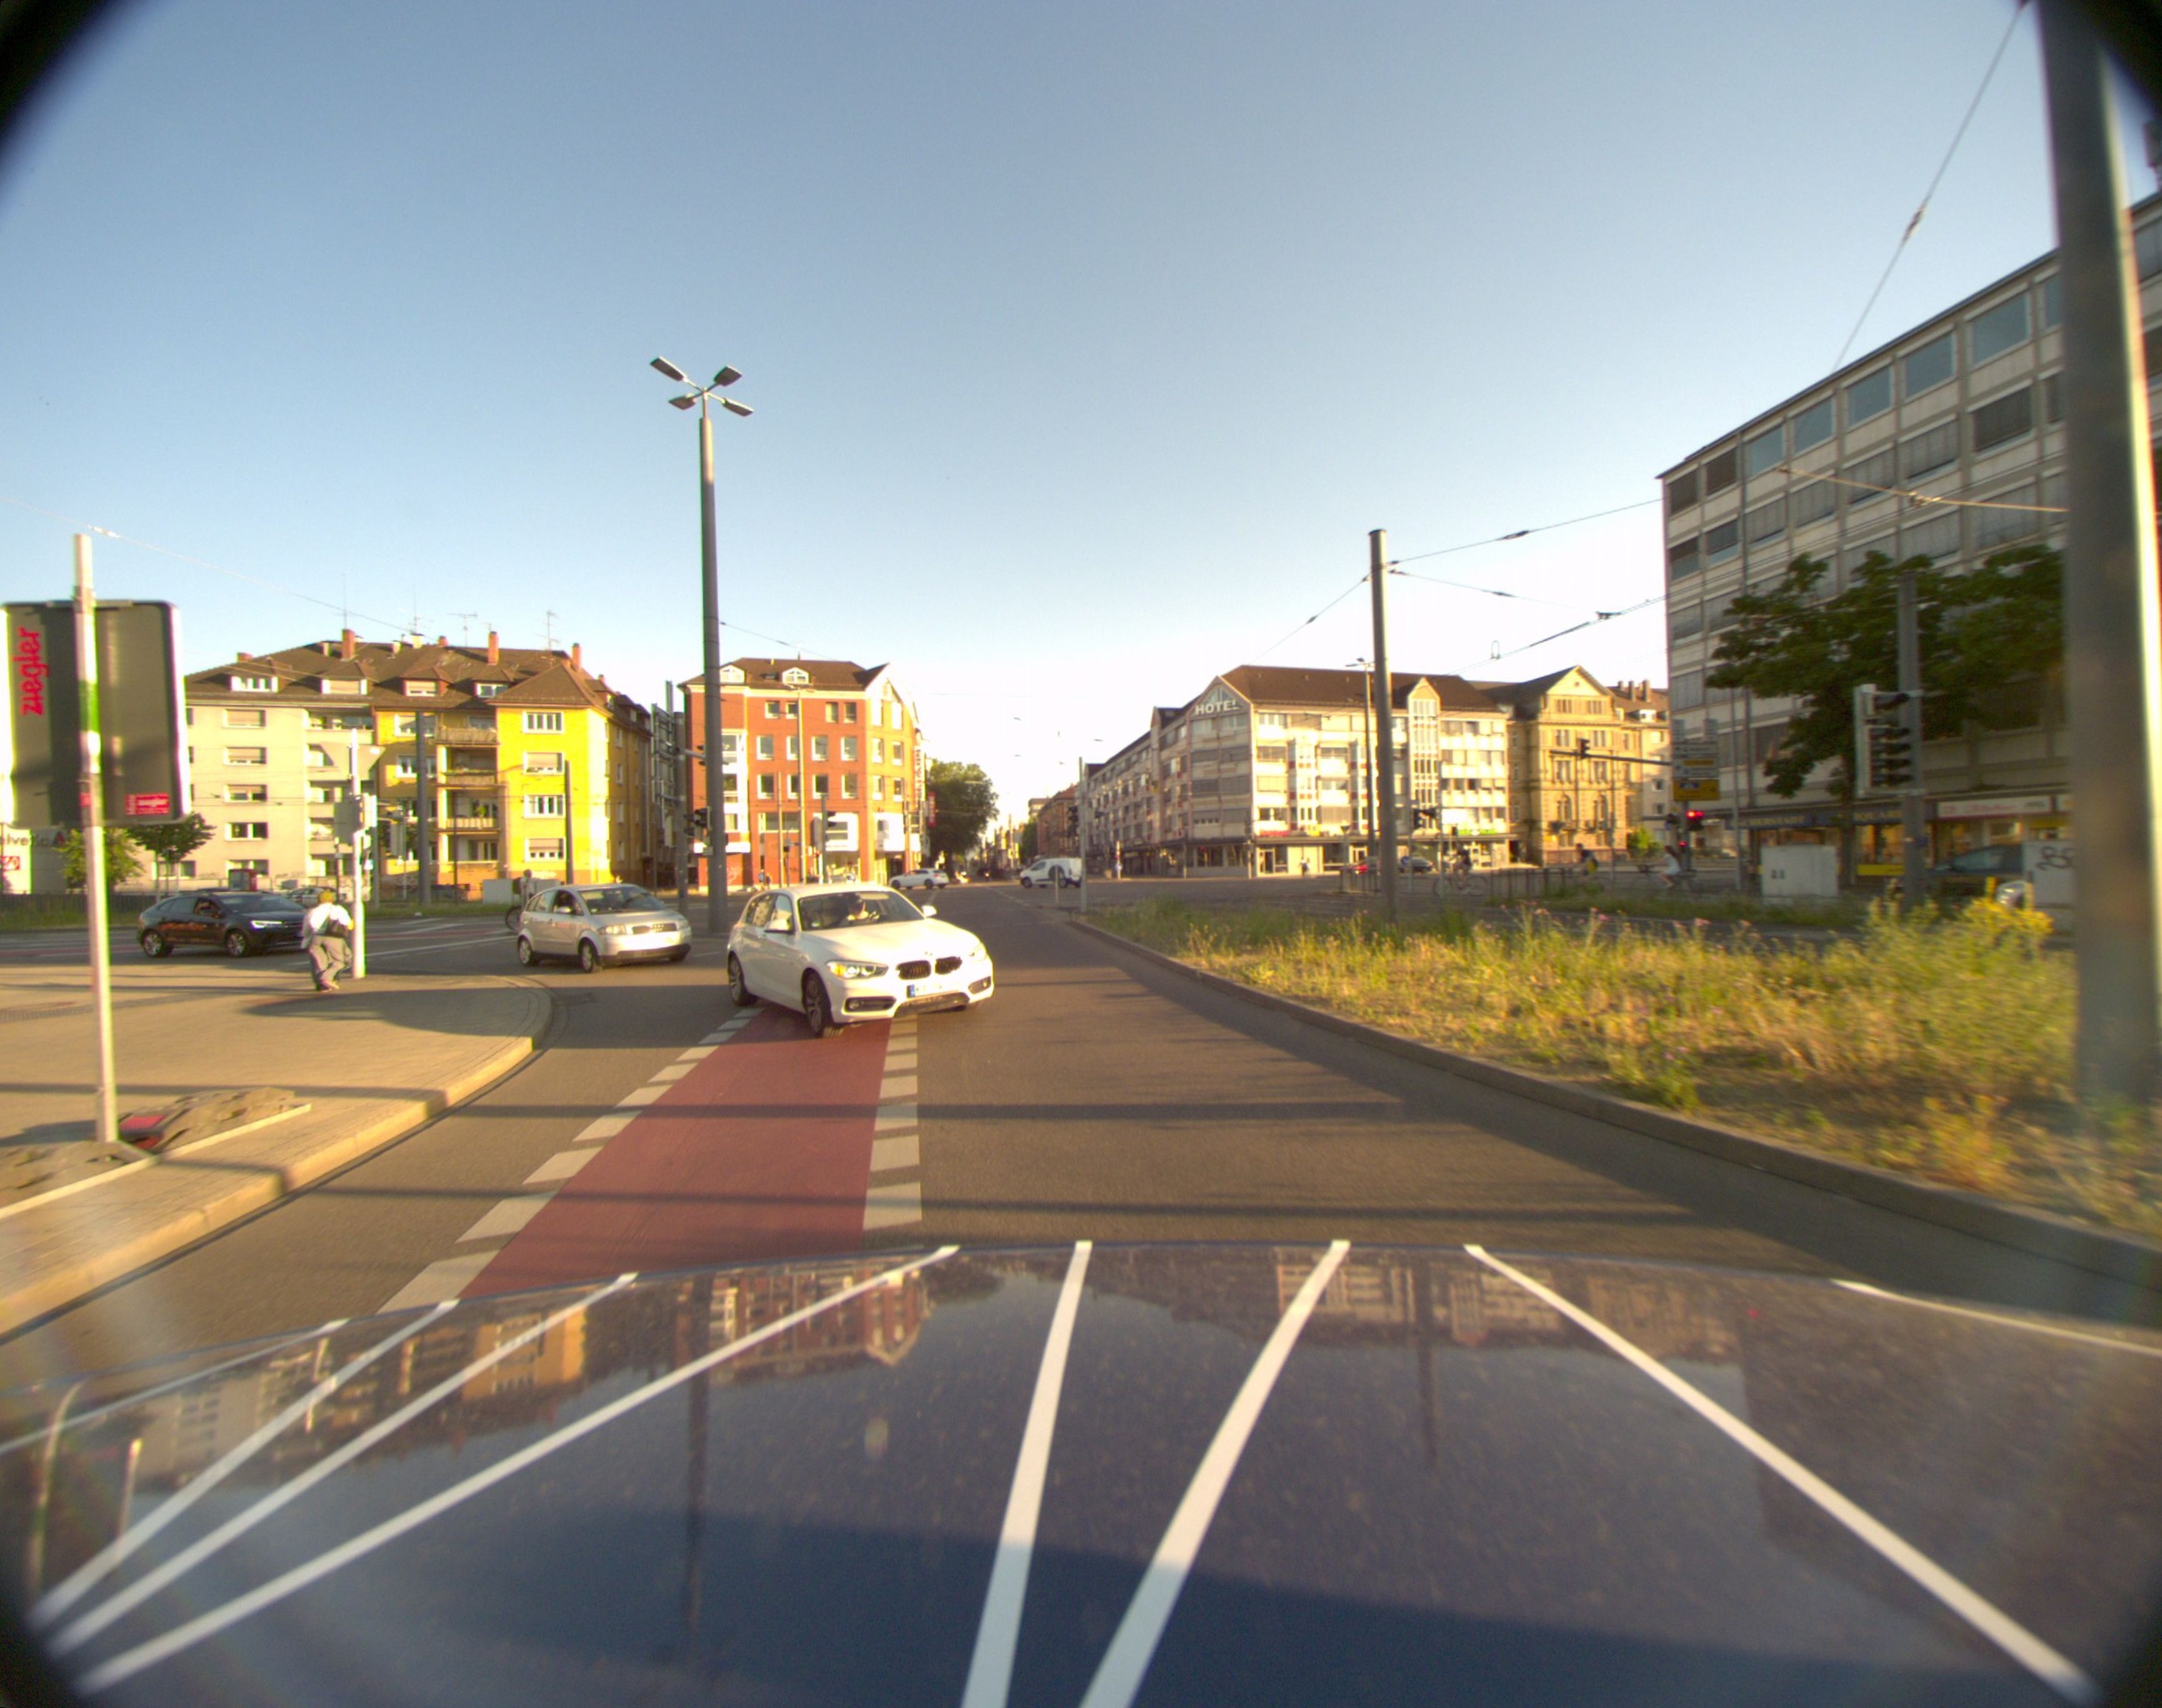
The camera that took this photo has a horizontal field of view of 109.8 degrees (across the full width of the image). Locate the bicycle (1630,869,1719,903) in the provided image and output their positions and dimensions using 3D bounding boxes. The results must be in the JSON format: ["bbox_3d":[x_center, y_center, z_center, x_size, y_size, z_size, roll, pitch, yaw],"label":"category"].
[{"bbox_3d":[17.281,0.925,22.156,0.726,0.924,1.949,-1,0,-45],"label":"bicycle"}]

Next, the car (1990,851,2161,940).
[{"bbox_3d":[18.887,0.666,12.479,2.042,1.432,4.653,-2,0,-21],"label":"car"}]

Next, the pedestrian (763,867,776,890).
[{"bbox_3d":[-24.654,1.958,60.113,0.874,1.768,0.916,-2,1,-20],"label":"pedestrian"}]

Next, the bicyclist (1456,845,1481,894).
[{"bbox_3d":[13.084,0.521,25.655,0.698,1.602,0.738,-1,0,24],"label":"bicyclist"}]

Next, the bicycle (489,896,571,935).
[{"bbox_3d":[-15.904,1.762,21.989,1.850,1.017,0.595,-1,0,-28],"label":"bicycle"}]

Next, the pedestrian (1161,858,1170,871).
[{"bbox_3d":[9.867,1.230,88.411,0.708,1.539,0.906,-1,0,-13],"label":"pedestrian"}]

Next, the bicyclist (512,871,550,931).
[{"bbox_3d":[-15.913,1.332,21.983,0.749,1.661,0.595,-2,1,-28],"label":"bicyclist"}]

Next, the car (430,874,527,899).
[{"bbox_3d":[-40.280,2.153,50.956,4.706,1.494,1.914,-1,0,-20],"label":"car"}]

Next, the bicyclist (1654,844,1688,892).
[{"bbox_3d":[17.226,0.412,22.198,0.682,1.361,0.717,-1,0,45],"label":"bicyclist"}]

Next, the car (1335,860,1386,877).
[{"bbox_3d":[24.655,1.249,67.058,3.899,1.413,1.647,-1,0,-15],"label":"car"}]

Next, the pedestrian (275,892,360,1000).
[{"bbox_3d":[-11.860,1.404,11.819,0.689,1.604,0.596,-1,0,-5],"label":"pedestrian"}]

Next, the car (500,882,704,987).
[{"bbox_3d":[-8.858,1.358,13.984,3.716,1.552,1.684,-1,2,33],"label":"car"}]

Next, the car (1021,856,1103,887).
[{"bbox_3d":[-1.243,1.092,47.614,4.862,1.827,2.005,-2,0,35],"label":"car"}]

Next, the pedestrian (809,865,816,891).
[{"bbox_3d":[-18.302,1.626,51.800,0.419,1.698,0.515,-1,0,-17],"label":"pedestrian"}]

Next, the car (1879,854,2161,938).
[{"bbox_3d":[21.127,0.819,16.866,2.000,1.564,4.299,-1,0,-10],"label":"car"}]

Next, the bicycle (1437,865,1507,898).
[{"bbox_3d":[13.146,0.914,25.627,2.053,1.069,0.758,-1,0,24],"label":"bicycle"}]

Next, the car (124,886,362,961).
[{"bbox_3d":[-20.309,1.650,18.488,4.384,1.608,1.946,-1,0,13],"label":"car"}]

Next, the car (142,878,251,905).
[{"bbox_3d":[-59.656,2.510,51.350,4.352,1.695,2.117,-1,0,-15],"label":"car"}]

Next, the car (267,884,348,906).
[{"bbox_3d":[-53.816,2.840,52.946,3.545,1.411,1.737,-1,0,-15],"label":"car"}]

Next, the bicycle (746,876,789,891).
[{"bbox_3d":[-24.410,2.294,59.224,3.066,1.011,0.930,-1,0,-19],"label":"bicycle"}]

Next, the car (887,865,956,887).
[{"bbox_3d":[-11.375,1.569,54.212,4.552,1.440,1.819,-1,0,21],"label":"car"}]

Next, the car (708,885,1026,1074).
[{"bbox_3d":[-2.651,1.141,8.628,1.920,1.397,4.292,-2,1,-39],"label":"car"}]

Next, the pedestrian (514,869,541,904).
[{"bbox_3d":[-24.871,1.461,34.138,0.636,1.532,0.707,-1,0,4],"label":"pedestrian"}]
